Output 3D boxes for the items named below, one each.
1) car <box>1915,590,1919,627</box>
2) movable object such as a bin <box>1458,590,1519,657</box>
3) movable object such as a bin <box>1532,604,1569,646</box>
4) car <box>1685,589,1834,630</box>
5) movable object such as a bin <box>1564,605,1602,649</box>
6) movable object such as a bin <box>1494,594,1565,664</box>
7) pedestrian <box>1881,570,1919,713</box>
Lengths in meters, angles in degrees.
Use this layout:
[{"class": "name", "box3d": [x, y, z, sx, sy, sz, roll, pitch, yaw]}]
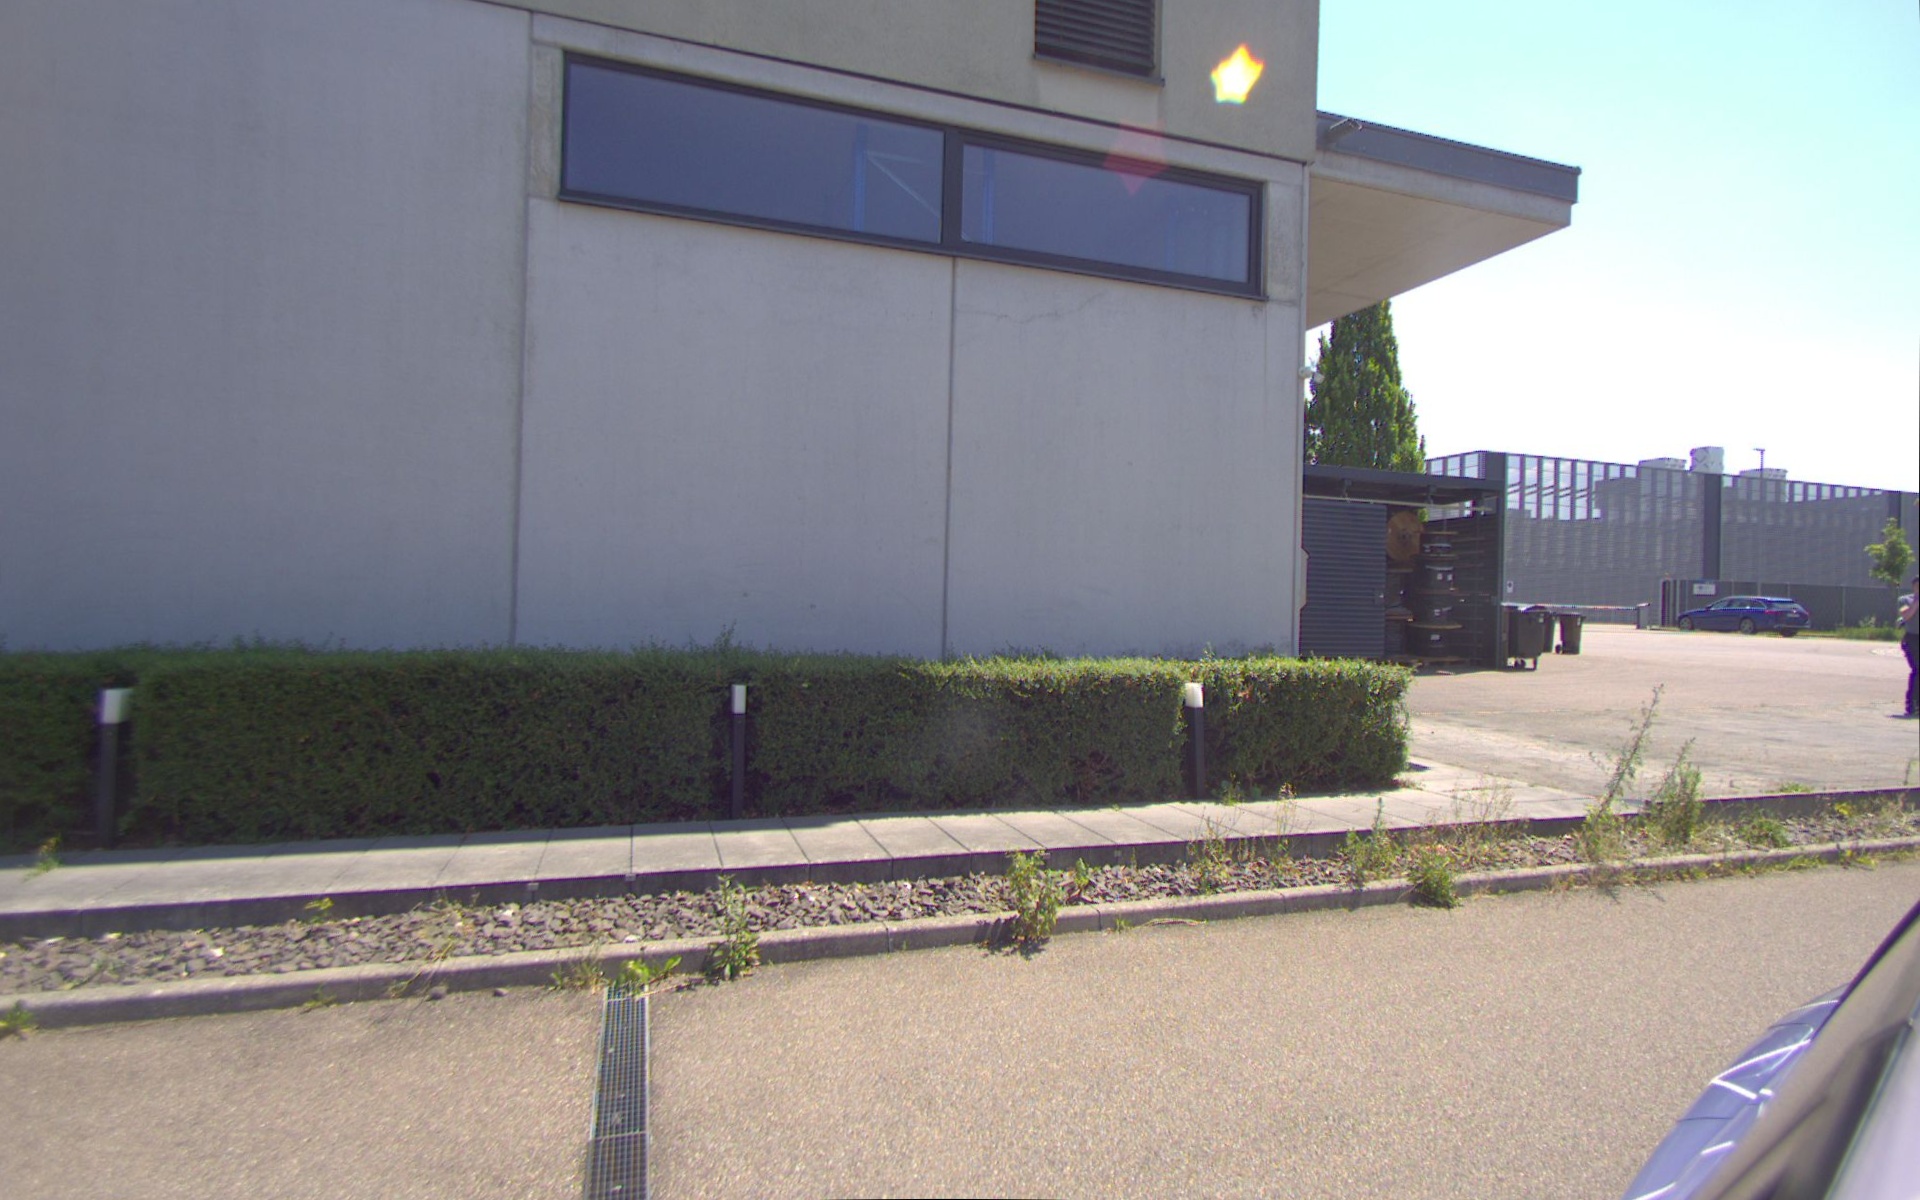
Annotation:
[{"class": "car", "box3d": [39.876, 0.396, 39.007, 1.746, 1.494, 4.418, 1, 1, -3]}, {"class": "movable object such as a bin", "box3d": [10.602, 0.461, 20.318, 0.785, 1.314, 0.757, 0, 1, -10]}, {"class": "movable object such as a bin", "box3d": [13.499, 0.563, 23.144, 0.538, 0.929, 0.584, -1, 2, -43]}, {"class": "car", "box3d": [30.197, 0.313, 38.412, 1.822, 1.427, 4.452, 1, 1, -6]}, {"class": "movable object such as a bin", "box3d": [13.971, 0.598, 22.697, 0.538, 0.929, 0.584, -1, 2, -43]}, {"class": "movable object such as a bin", "box3d": [10.837, 0.533, 19.268, 0.785, 1.265, 0.878, 0, 1, -10]}, {"class": "pedestrian", "box3d": [12.441, 0.512, 12.861, 0.796, 1.791, 0.766, 0, 1, 12]}]
